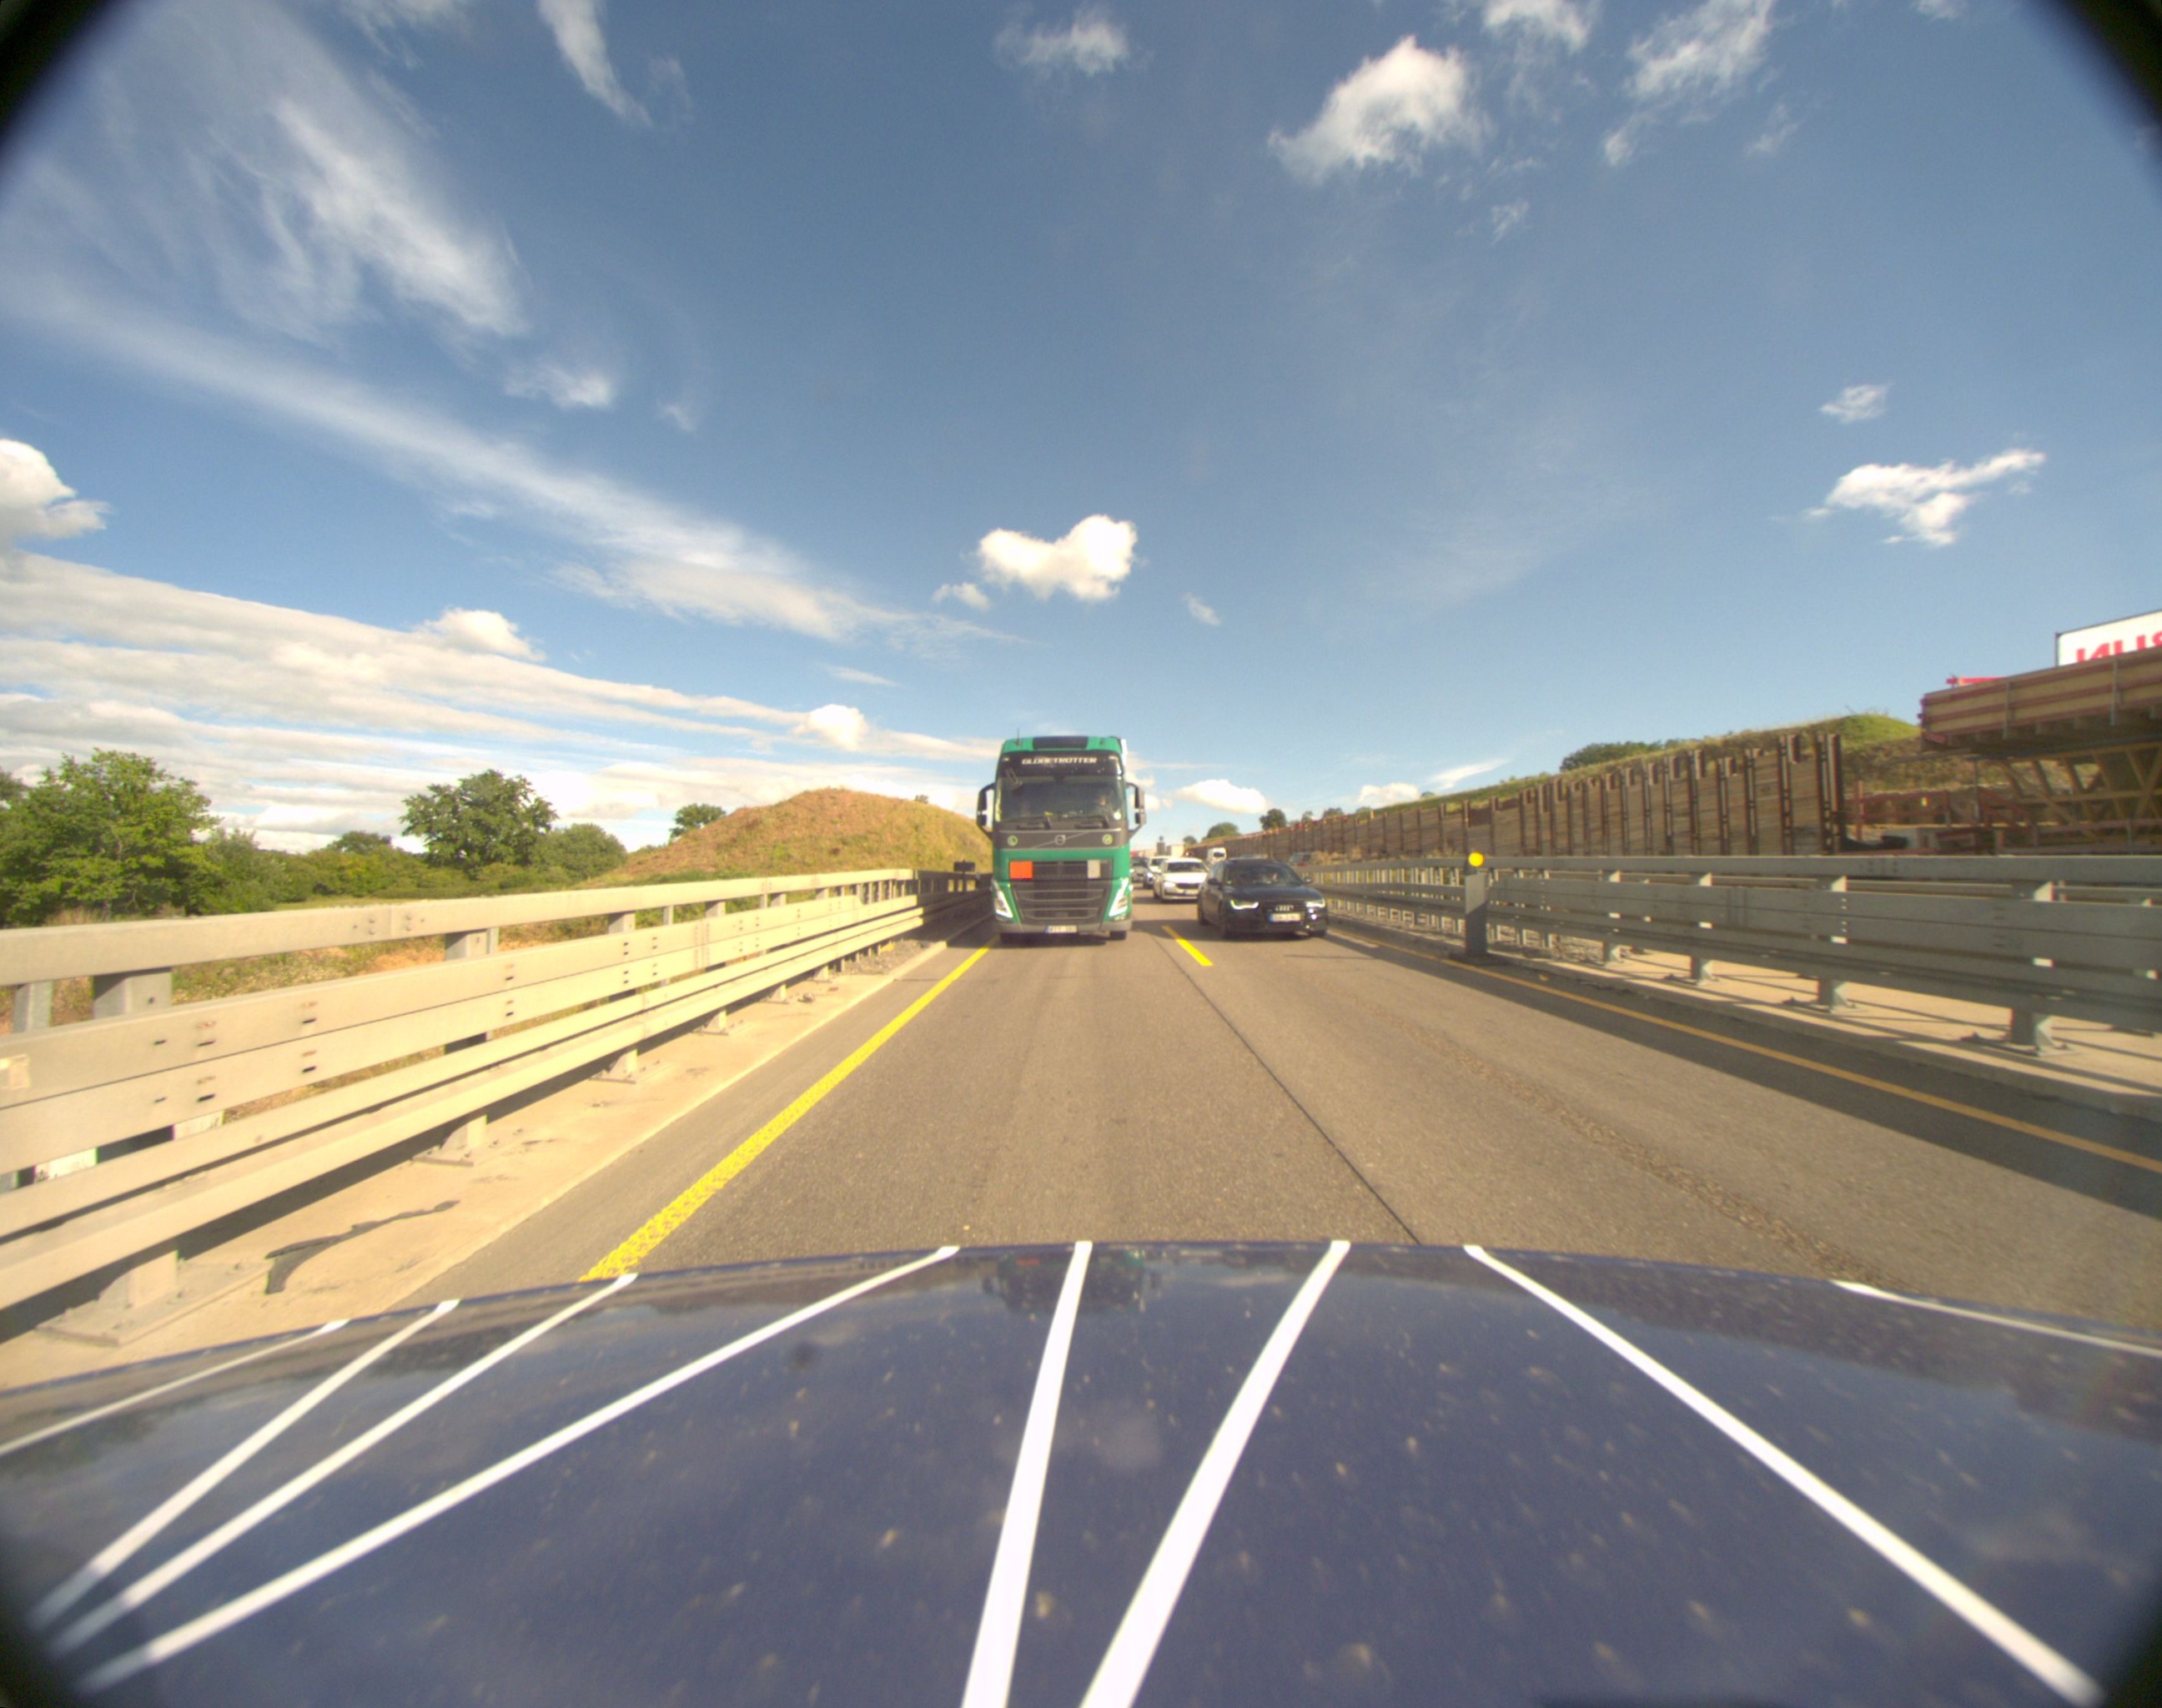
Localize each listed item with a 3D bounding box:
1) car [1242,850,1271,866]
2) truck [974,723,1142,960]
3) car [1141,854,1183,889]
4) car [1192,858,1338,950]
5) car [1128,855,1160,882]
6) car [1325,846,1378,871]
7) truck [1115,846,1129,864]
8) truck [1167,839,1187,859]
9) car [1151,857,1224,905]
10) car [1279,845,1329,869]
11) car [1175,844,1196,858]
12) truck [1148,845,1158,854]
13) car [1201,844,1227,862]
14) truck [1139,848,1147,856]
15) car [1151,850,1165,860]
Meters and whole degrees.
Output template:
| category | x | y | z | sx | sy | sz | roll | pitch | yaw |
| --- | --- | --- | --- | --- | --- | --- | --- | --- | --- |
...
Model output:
| category | x | y | z | sx | sy | sz | roll | pitch | yaw |
| --- | --- | --- | --- | --- | --- | --- | --- | --- | --- |
| car | 18.018 | 0.359 | 78.071 | 1.949 | 1.422 | 4.407 | -3 | 1 | 0 |
| truck | -0.296 | -0.272 | 17.723 | 2.663 | 3.825 | 10.316 | -2 | 1 | 1 |
| car | 3.907 | 0.816 | 37.128 | 1.659 | 1.510 | 3.999 | -2 | 1 | 1 |
| car | 3.433 | 0.857 | 15.098 | 1.948 | 1.422 | 4.504 | -1 | 1 | 2 |
| car | 3.872 | 0.854 | 47.095 | 1.659 | 1.510 | 3.999 | -2 | 1 | 1 |
| car | 18.047 | 0.267 | 50.938 | 1.949 | 1.422 | 4.407 | -3 | 1 | 0 |
| truck | 9.408 | 0.185 | 176.543 | 2.663 | 3.825 | 10.316 | -2 | 1 | 1 |
| truck | 19.662 | -1.116 | 156.121 | 3.178 | 3.843 | 8.233 | -2 | 1 | 1 |
| car | 3.562 | 0.863 | 26.119 | 1.949 | 1.422 | 4.408 | -1 | 0 | 1 |
| car | 14.665 | 0.156 | 50.118 | 1.949 | 1.422 | 4.407 | -3 | 1 | 0 |
| car | 18.654 | -0.490 | 135.877 | 2.887 | 2.329 | 6.404 | -2 | 1 | 1 |
| truck | 21.328 | -1.421 | 225.950 | 2.383 | 2.503 | 6.553 | -2 | 1 | 1 |
| car | 18.410 | -0.116 | 105.430 | 2.572 | 2.329 | 6.404 | -2 | 1 | 1 |
| truck | 20.585 | -0.744 | 251.881 | 1.998 | 2.503 | 6.553 | -2 | 1 | 1 |
| car | 19.773 | 0.135 | 194.502 | 2.887 | 2.329 | 6.404 | -2 | 1 | 1 |
